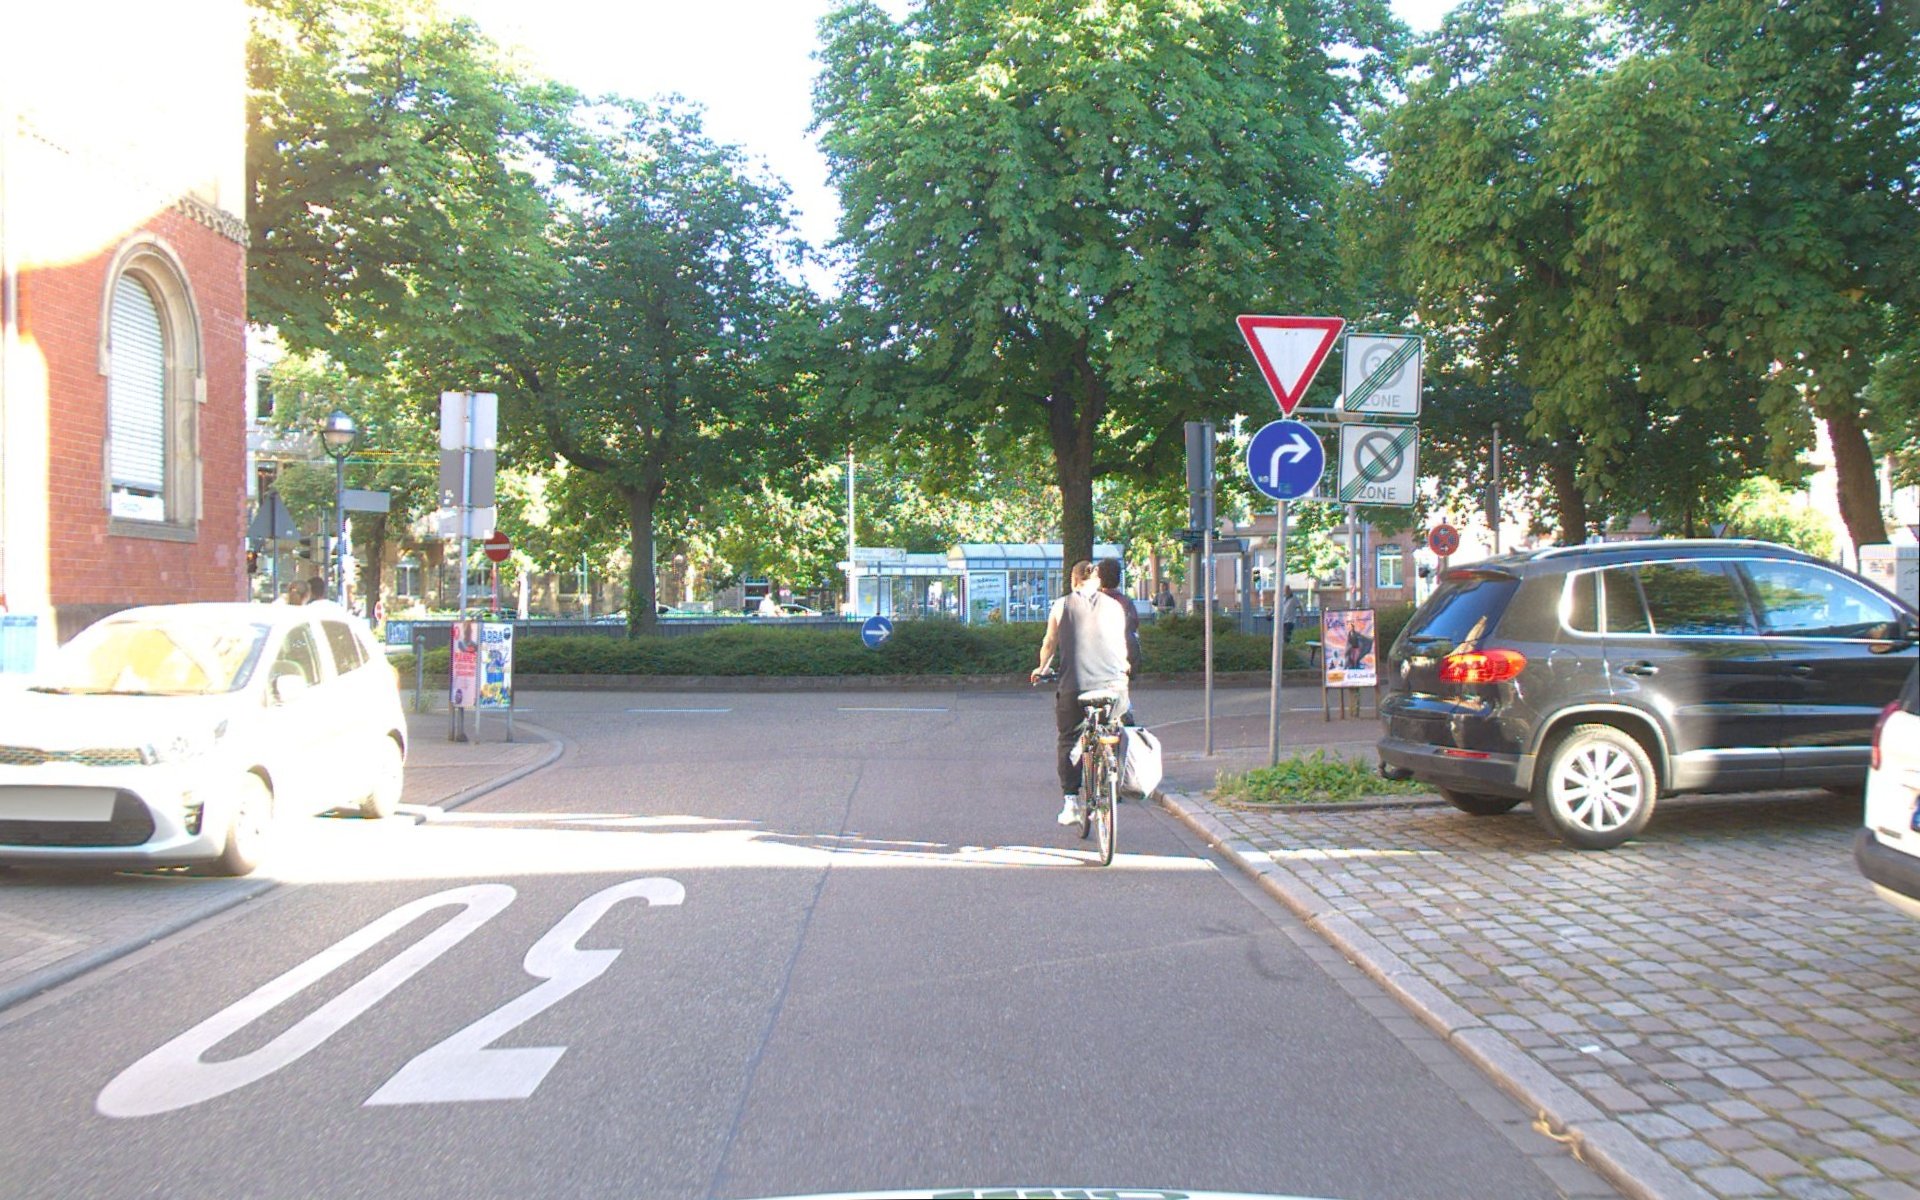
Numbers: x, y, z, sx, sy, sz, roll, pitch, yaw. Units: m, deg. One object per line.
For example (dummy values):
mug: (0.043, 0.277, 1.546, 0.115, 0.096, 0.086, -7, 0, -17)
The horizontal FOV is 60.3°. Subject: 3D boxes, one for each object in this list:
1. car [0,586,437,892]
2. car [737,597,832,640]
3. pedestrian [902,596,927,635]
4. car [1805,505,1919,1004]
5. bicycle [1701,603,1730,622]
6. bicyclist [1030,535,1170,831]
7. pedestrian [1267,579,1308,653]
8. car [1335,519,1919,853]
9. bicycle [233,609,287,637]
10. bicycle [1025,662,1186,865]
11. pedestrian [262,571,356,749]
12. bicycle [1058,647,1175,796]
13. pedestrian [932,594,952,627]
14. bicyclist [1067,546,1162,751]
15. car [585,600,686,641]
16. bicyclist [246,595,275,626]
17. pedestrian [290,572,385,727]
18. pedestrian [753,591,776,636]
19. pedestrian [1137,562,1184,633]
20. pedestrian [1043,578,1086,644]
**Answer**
car: (-4.685, 0.700, 10.288, 1.670, 1.511, 3.796, 2, 0, -1)
car: (-8.049, 0.832, 75.847, 3.940, 1.903, 1.983, 0, 0, -27)
pedestrian: (-1.841, 0.624, 66.848, 0.795, 1.570, 0.818, 2, 0, -13)
car: (5.035, 0.511, 5.460, 3.616, 1.680, 1.704, 0, 0, 2)
bicycle: (36.317, 0.595, 79.517, 1.196, 0.877, 0.450, 0, 0, -6)
bicyclist: (0.832, 0.480, 10.056, 0.737, 1.711, 0.913, 0, 0, -2)
pedestrian: (7.750, 0.378, 39.210, 0.896, 1.713, 0.781, -1, 0, 8)
car: (4.594, 0.424, 10.136, 4.027, 1.742, 2.022, -2, 1, -6)
bicycle: (-24.235, 0.786, 57.311, 0.640, 0.962, 1.741, 0, 0, 26)
bicycle: (0.839, 0.935, 10.099, 0.723, 1.030, 2.060, 2, -1, -1)
pedestrian: (-6.139, 0.551, 15.638, 0.588, 1.633, 0.854, 0, 0, -4)
bicycle: (1.205, 0.916, 13.112, 0.660, 1.072, 2.060, 0, -1, -2)
pedestrian: (-0.936, 0.539, 84.820, 0.980, 1.659, 1.064, 0, 0, -3)
bicyclist: (1.199, 0.375, 13.029, 0.657, 1.541, 1.069, -1, -1, 1)
car: (-14.010, 0.848, 71.534, 1.922, 1.709, 3.921, 0, 0, 45)
bicyclist: (-24.243, 0.355, 57.320, 0.598, 1.072, 0.676, 0, 0, 26)
pedestrian: (-6.900, 0.536, 18.370, 0.852, 1.672, 0.858, 0, 0, -12)
pedestrian: (-7.581, 0.511, 64.134, 0.692, 1.724, 0.666, 2, 0, -23)
pedestrian: (4.927, -0.063, 40.580, 0.880, 1.713, 0.817, -1, 0, 32)
pedestrian: (3.087, 0.308, 48.882, 1.003, 1.930, 0.906, 0, 0, -23)
